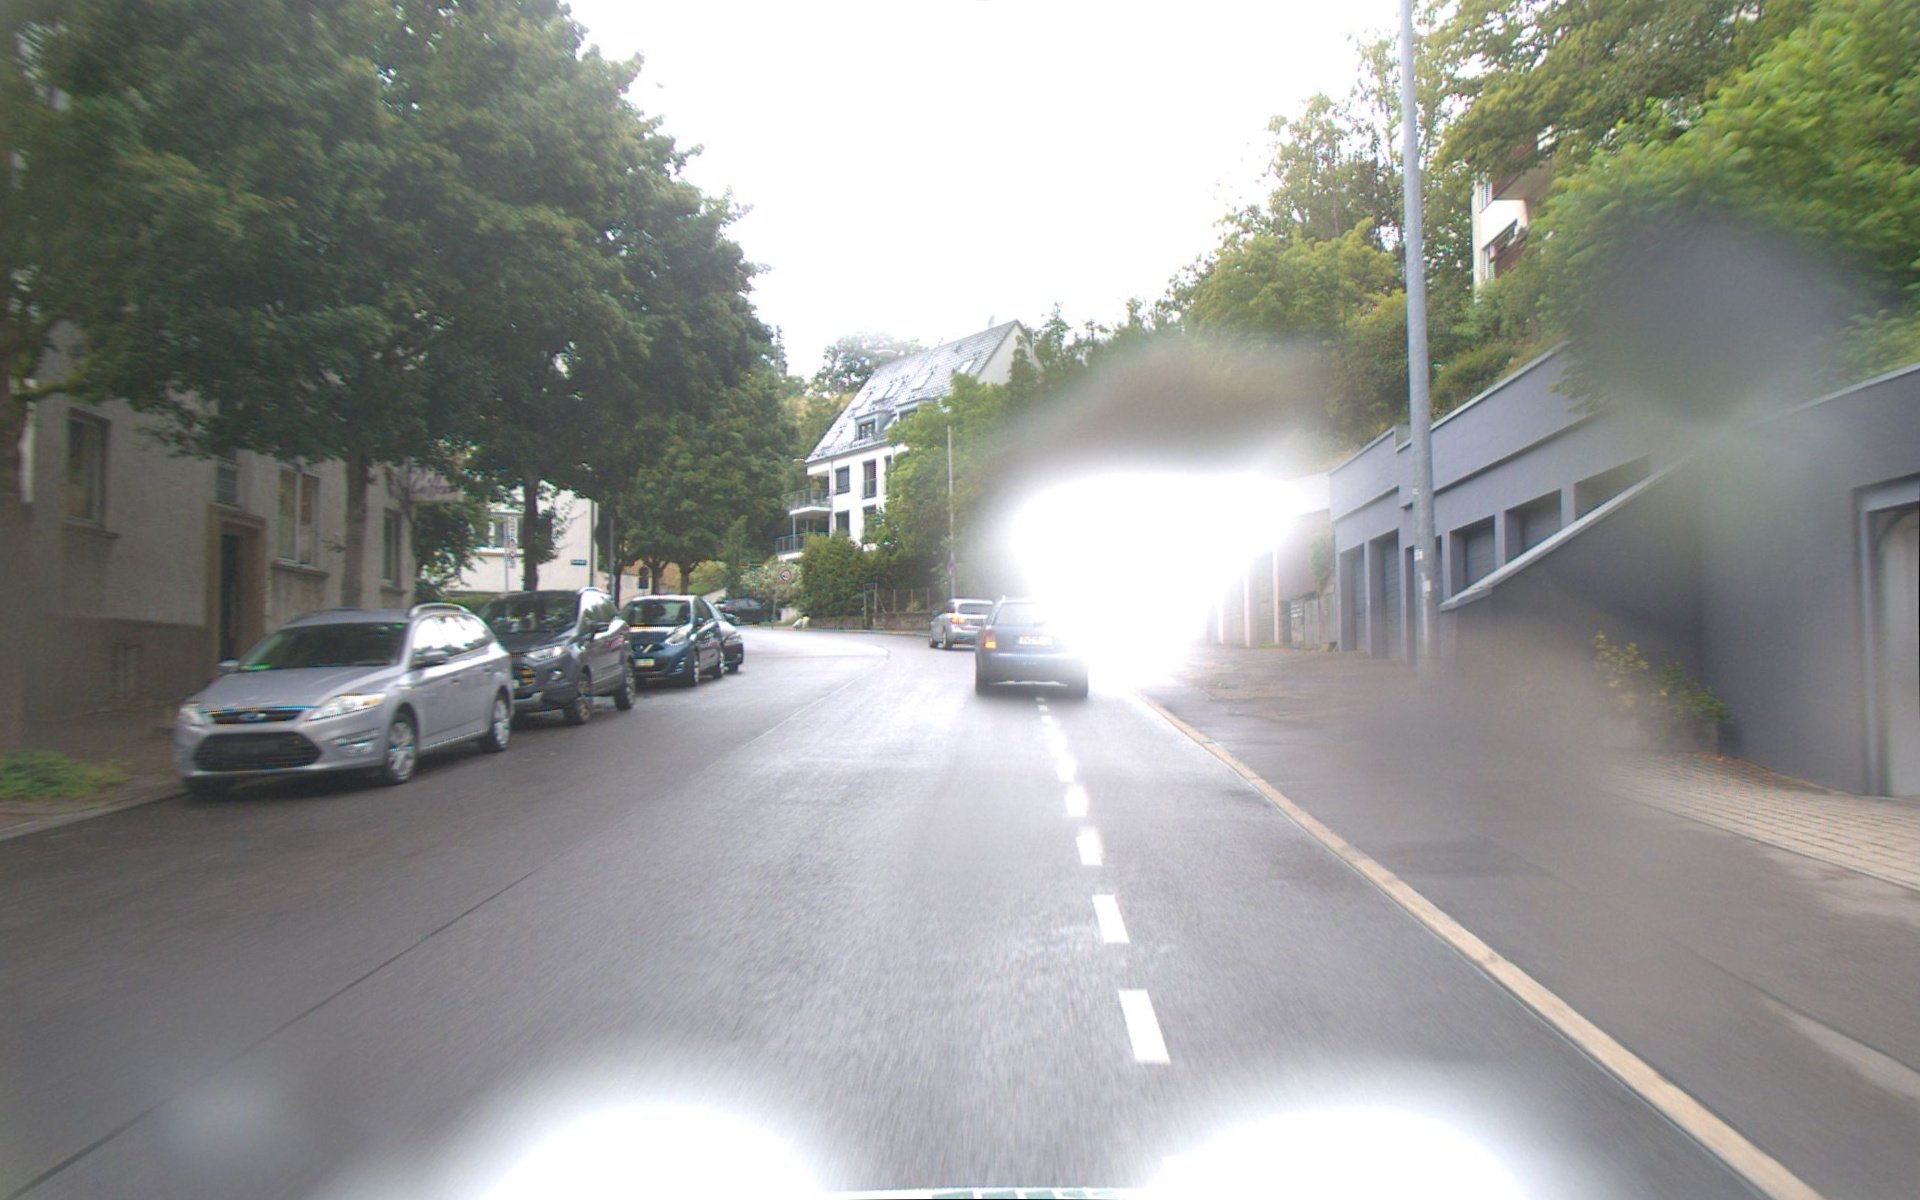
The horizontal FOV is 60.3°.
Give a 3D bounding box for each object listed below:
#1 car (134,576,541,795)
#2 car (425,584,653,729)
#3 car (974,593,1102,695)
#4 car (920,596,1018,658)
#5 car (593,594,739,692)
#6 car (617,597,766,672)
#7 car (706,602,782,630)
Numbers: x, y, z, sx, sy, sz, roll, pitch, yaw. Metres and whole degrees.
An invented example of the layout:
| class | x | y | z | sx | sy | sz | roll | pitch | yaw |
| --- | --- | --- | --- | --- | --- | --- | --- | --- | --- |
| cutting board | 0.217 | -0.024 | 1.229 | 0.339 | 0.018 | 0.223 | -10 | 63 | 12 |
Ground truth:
| class | x | y | z | sx | sy | sz | roll | pitch | yaw |
| --- | --- | --- | --- | --- | --- | --- | --- | --- | --- |
| car | -5.453 | 0.729 | 15.261 | 1.768 | 1.579 | 4.800 | -4 | -2 | 1 |
| car | -5.305 | 0.680 | 21.412 | 1.767 | 1.655 | 4.140 | 1 | -1 | 1 |
| car | 1.157 | 0.625 | 25.808 | 1.815 | 1.438 | 4.362 | 1 | 0 | 1 |
| car | 0.215 | 0.756 | 48.909 | 1.916 | 1.588 | 4.249 | 4 | 0 | -13 |
| car | -5.051 | 0.689 | 28.922 | 1.677 | 1.488 | 3.882 | 2 | 1 | 2 |
| car | -5.531 | 0.683 | 33.663 | 1.968 | 1.415 | 4.164 | 1 | -1 | -25 |
| car | -12.115 | 0.891 | 92.949 | 1.709 | 1.534 | 4.158 | 0 | -1 | 41 |
